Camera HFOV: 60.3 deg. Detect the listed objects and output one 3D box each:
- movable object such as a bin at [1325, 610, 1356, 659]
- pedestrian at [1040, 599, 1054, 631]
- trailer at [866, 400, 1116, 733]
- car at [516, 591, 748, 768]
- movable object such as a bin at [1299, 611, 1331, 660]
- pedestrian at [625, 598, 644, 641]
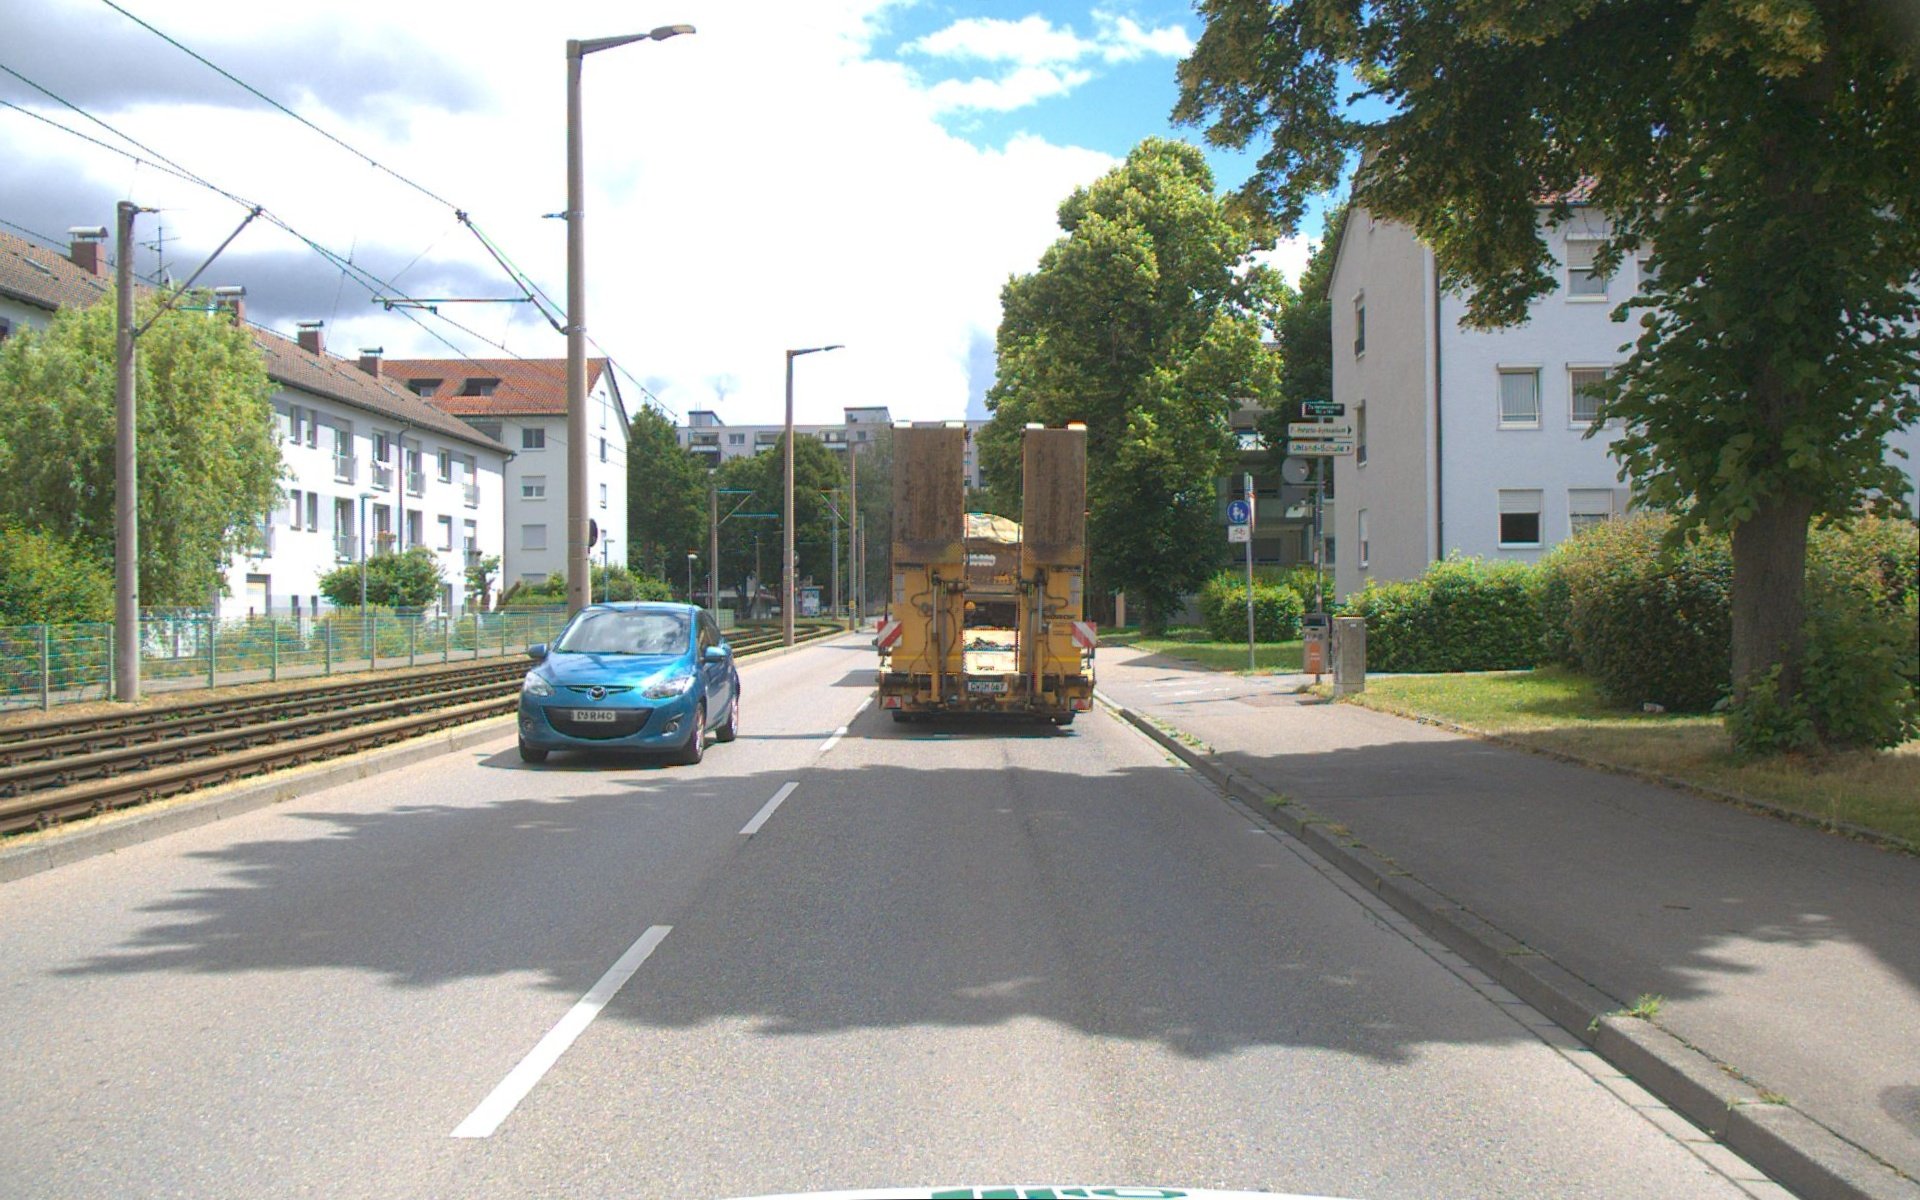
[{"bbox_3d":[7.703,0.690,33.492,0.490,0.964,0.551,-2,-1,0],"label":"movable object such as a bin"},{"bbox_3d":[4.748,0.809,90.097,0.703,1.736,0.766,-2,0,0],"label":"pedestrian"},{"bbox_3d":[0.119,-0.341,24.866,2.770,3.710,12.348,1,0,-2],"label":"trailer"},{"bbox_3d":[-3.108,0.705,16.304,1.590,1.552,3.581,0,0,0],"label":"car"},{"bbox_3d":[7.178,0.707,33.429,0.486,0.971,0.580,-2,-1,0],"label":"movable object such as a bin"},{"bbox_3d":[-14.267,0.858,72.568,0.645,1.881,0.768,-2,-1,0],"label":"pedestrian"}]
